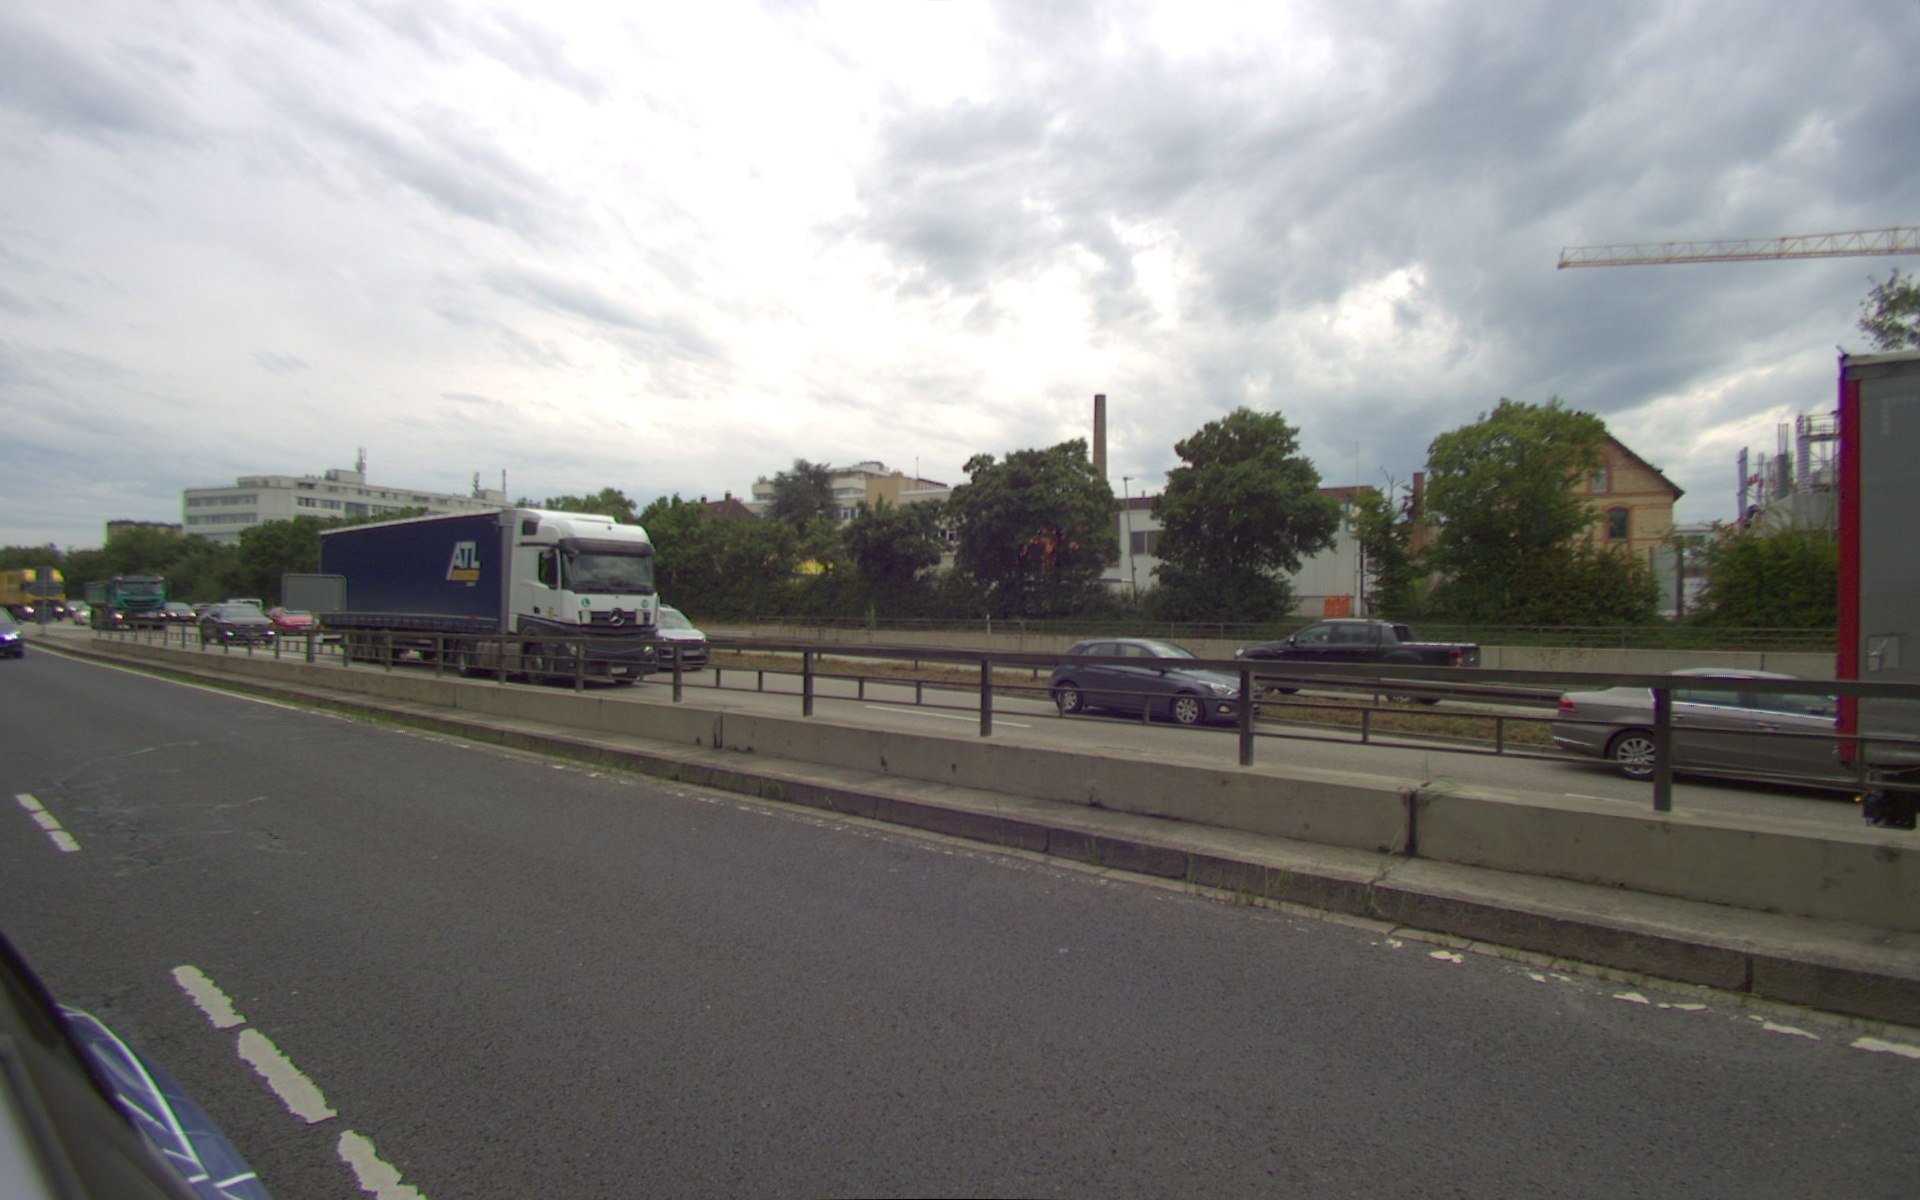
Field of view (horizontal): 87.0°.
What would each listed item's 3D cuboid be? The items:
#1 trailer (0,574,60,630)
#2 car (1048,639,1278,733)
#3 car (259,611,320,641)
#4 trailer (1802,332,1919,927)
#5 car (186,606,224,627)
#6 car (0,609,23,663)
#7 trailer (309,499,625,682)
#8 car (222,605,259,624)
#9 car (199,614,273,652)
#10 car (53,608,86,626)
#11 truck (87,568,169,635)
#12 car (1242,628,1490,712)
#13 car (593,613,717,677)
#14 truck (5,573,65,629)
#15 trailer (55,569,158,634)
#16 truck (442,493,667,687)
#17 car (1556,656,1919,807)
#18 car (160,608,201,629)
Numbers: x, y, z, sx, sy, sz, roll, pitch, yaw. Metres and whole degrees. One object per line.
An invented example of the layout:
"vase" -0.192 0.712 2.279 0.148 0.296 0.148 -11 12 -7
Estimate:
"trailer" -81.464 0.234 87.738 19.916 4.387 2.860 -1 -2 42
"car" 3.664 1.498 18.642 3.895 1.452 1.606 0 -2 41
"car" -33.902 1.298 51.118 3.999 1.452 1.606 -1 0 42
"trailer" 12.393 0.179 3.463 14.550 4.067 2.623 -1 -2 42
"car" -77.354 1.682 103.673 3.994 2.029 1.975 -1 -3 37
"car" -30.122 1.084 30.931 4.420 1.575 1.761 -1 0 42
"trailer" -14.417 -0.141 28.321 14.779 4.067 2.498 -1 -2 42
"car" -60.378 1.237 84.878 3.896 1.523 1.711 -1 0 42
"car" -29.384 1.304 41.030 3.999 1.452 1.606 -1 0 42
"car" -82.180 1.546 93.375 4.420 1.575 1.761 -1 0 42
"truck" -48.460 0.129 58.878 6.665 3.663 2.611 -1 -2 42
"car" 8.868 1.464 22.420 4.838 1.564 1.606 -1 0 42
"car" -8.800 1.240 29.046 3.896 1.682 1.606 -1 0 42
"truck" -74.529 0.132 81.526 6.517 4.377 2.855 -1 -2 42
"trailer" -54.173 0.158 63.978 16.744 3.668 2.579 -1 -2 42
"truck" -9.792 -0.173 24.166 6.095 4.067 2.498 -1 -2 42
"car" 9.864 1.531 12.676 3.896 1.452 1.606 -1 0 42
"car" -55.791 1.316 72.407 3.999 1.452 1.606 -1 0 42
